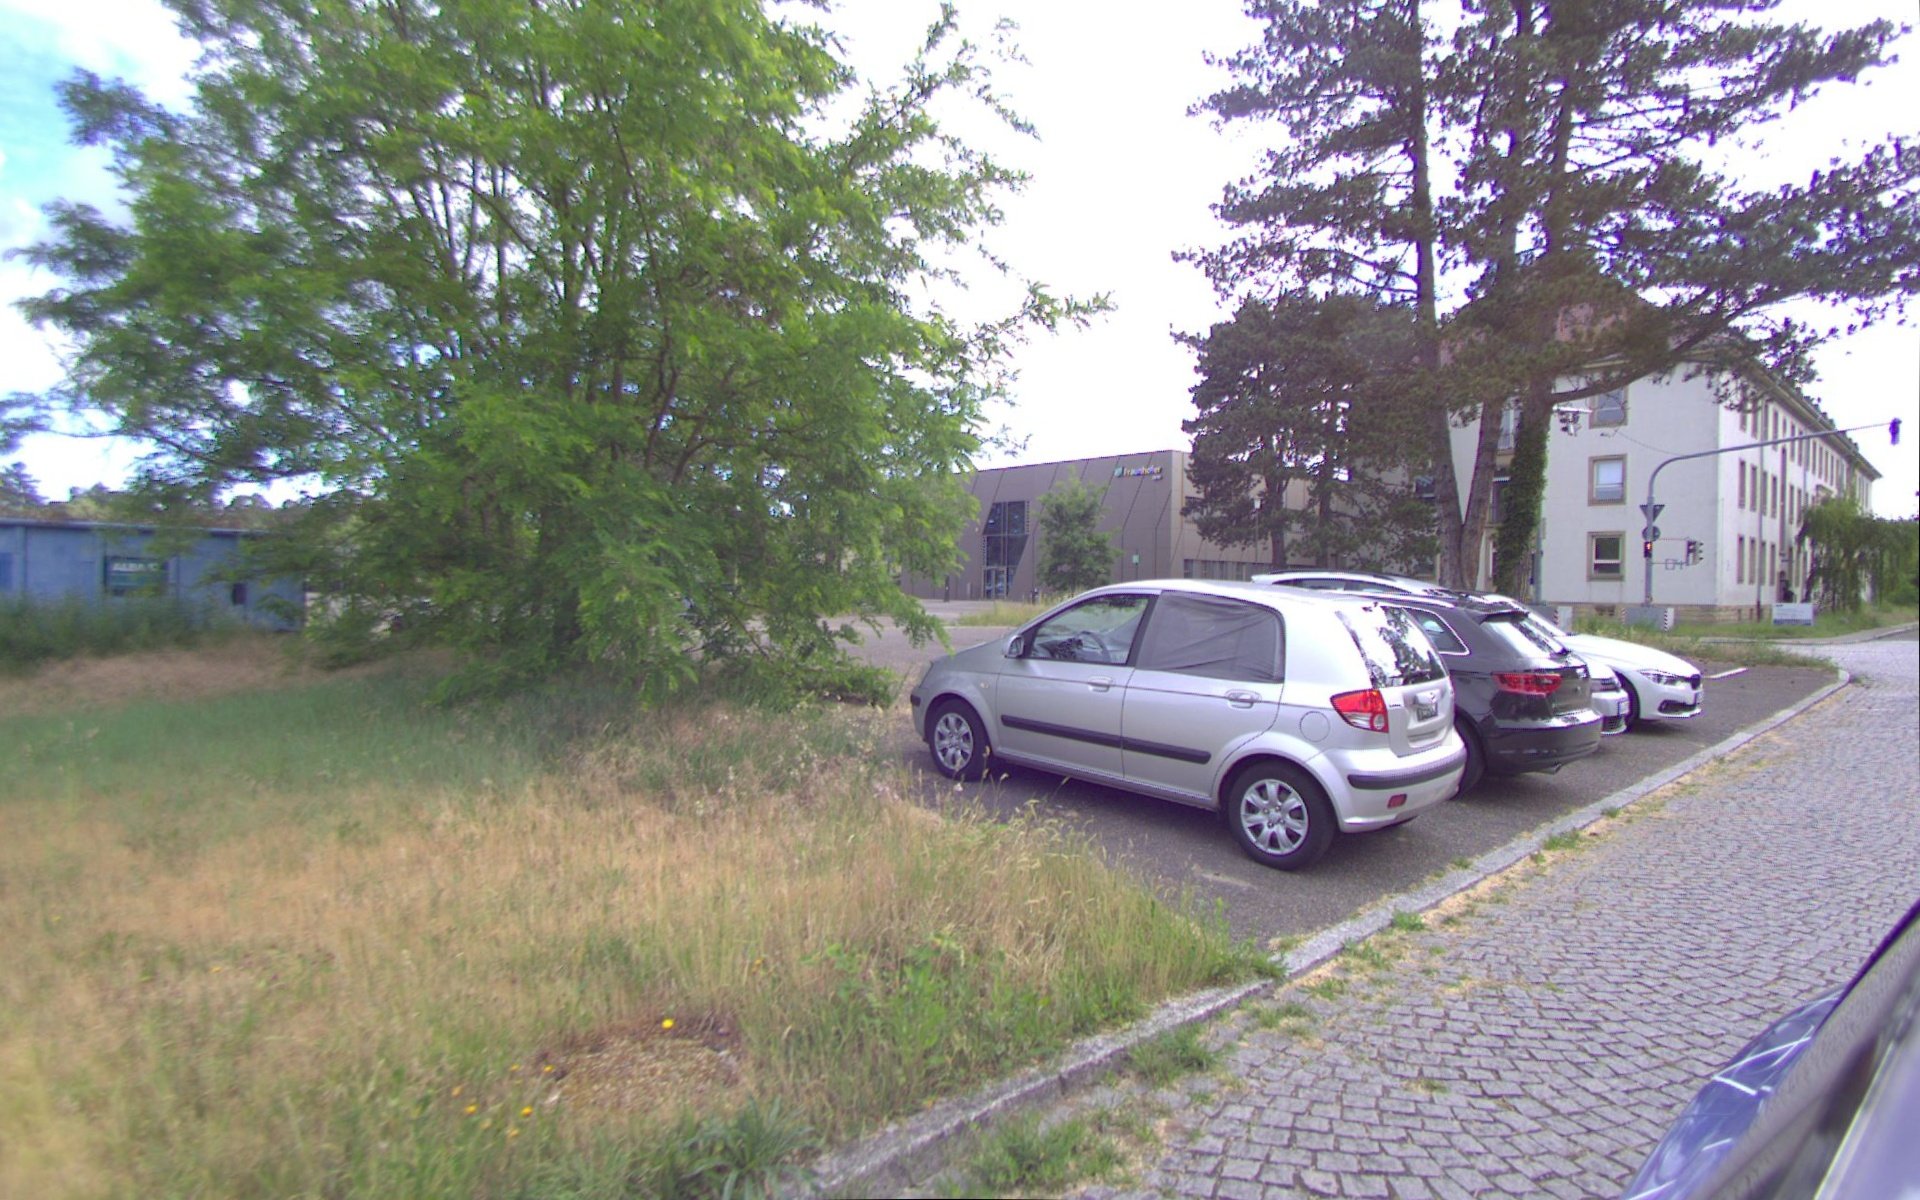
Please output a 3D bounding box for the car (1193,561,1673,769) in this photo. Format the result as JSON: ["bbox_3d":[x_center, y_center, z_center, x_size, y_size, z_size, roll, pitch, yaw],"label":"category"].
[{"bbox_3d":[4.870,0.500,10.851,4.242,1.615,1.855,5,4,44],"label":"car"}]

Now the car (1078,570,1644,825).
[{"bbox_3d":[3.219,0.593,8.695,1.854,1.470,4.078,0,4,-45],"label":"car"}]

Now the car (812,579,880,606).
[{"bbox_3d":[-7.871,-0.517,70.340,4.402,1.854,1.995,0,1,-44],"label":"car"}]

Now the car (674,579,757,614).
[{"bbox_3d":[-11.382,-0.185,46.975,3.988,1.501,1.941,1,1,45],"label":"car"}]

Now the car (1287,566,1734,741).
[{"bbox_3d":[6.651,0.496,12.622,1.874,1.584,4.497,0,4,-45],"label":"car"}]

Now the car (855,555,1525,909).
[{"bbox_3d":[1.280,0.564,6.868,1.775,1.533,4.078,0,4,-45],"label":"car"}]

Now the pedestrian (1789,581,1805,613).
[{"bbox_3d":[44.837,-0.160,54.204,0.522,1.722,0.568,1,0,-39],"label":"pedestrian"}]
